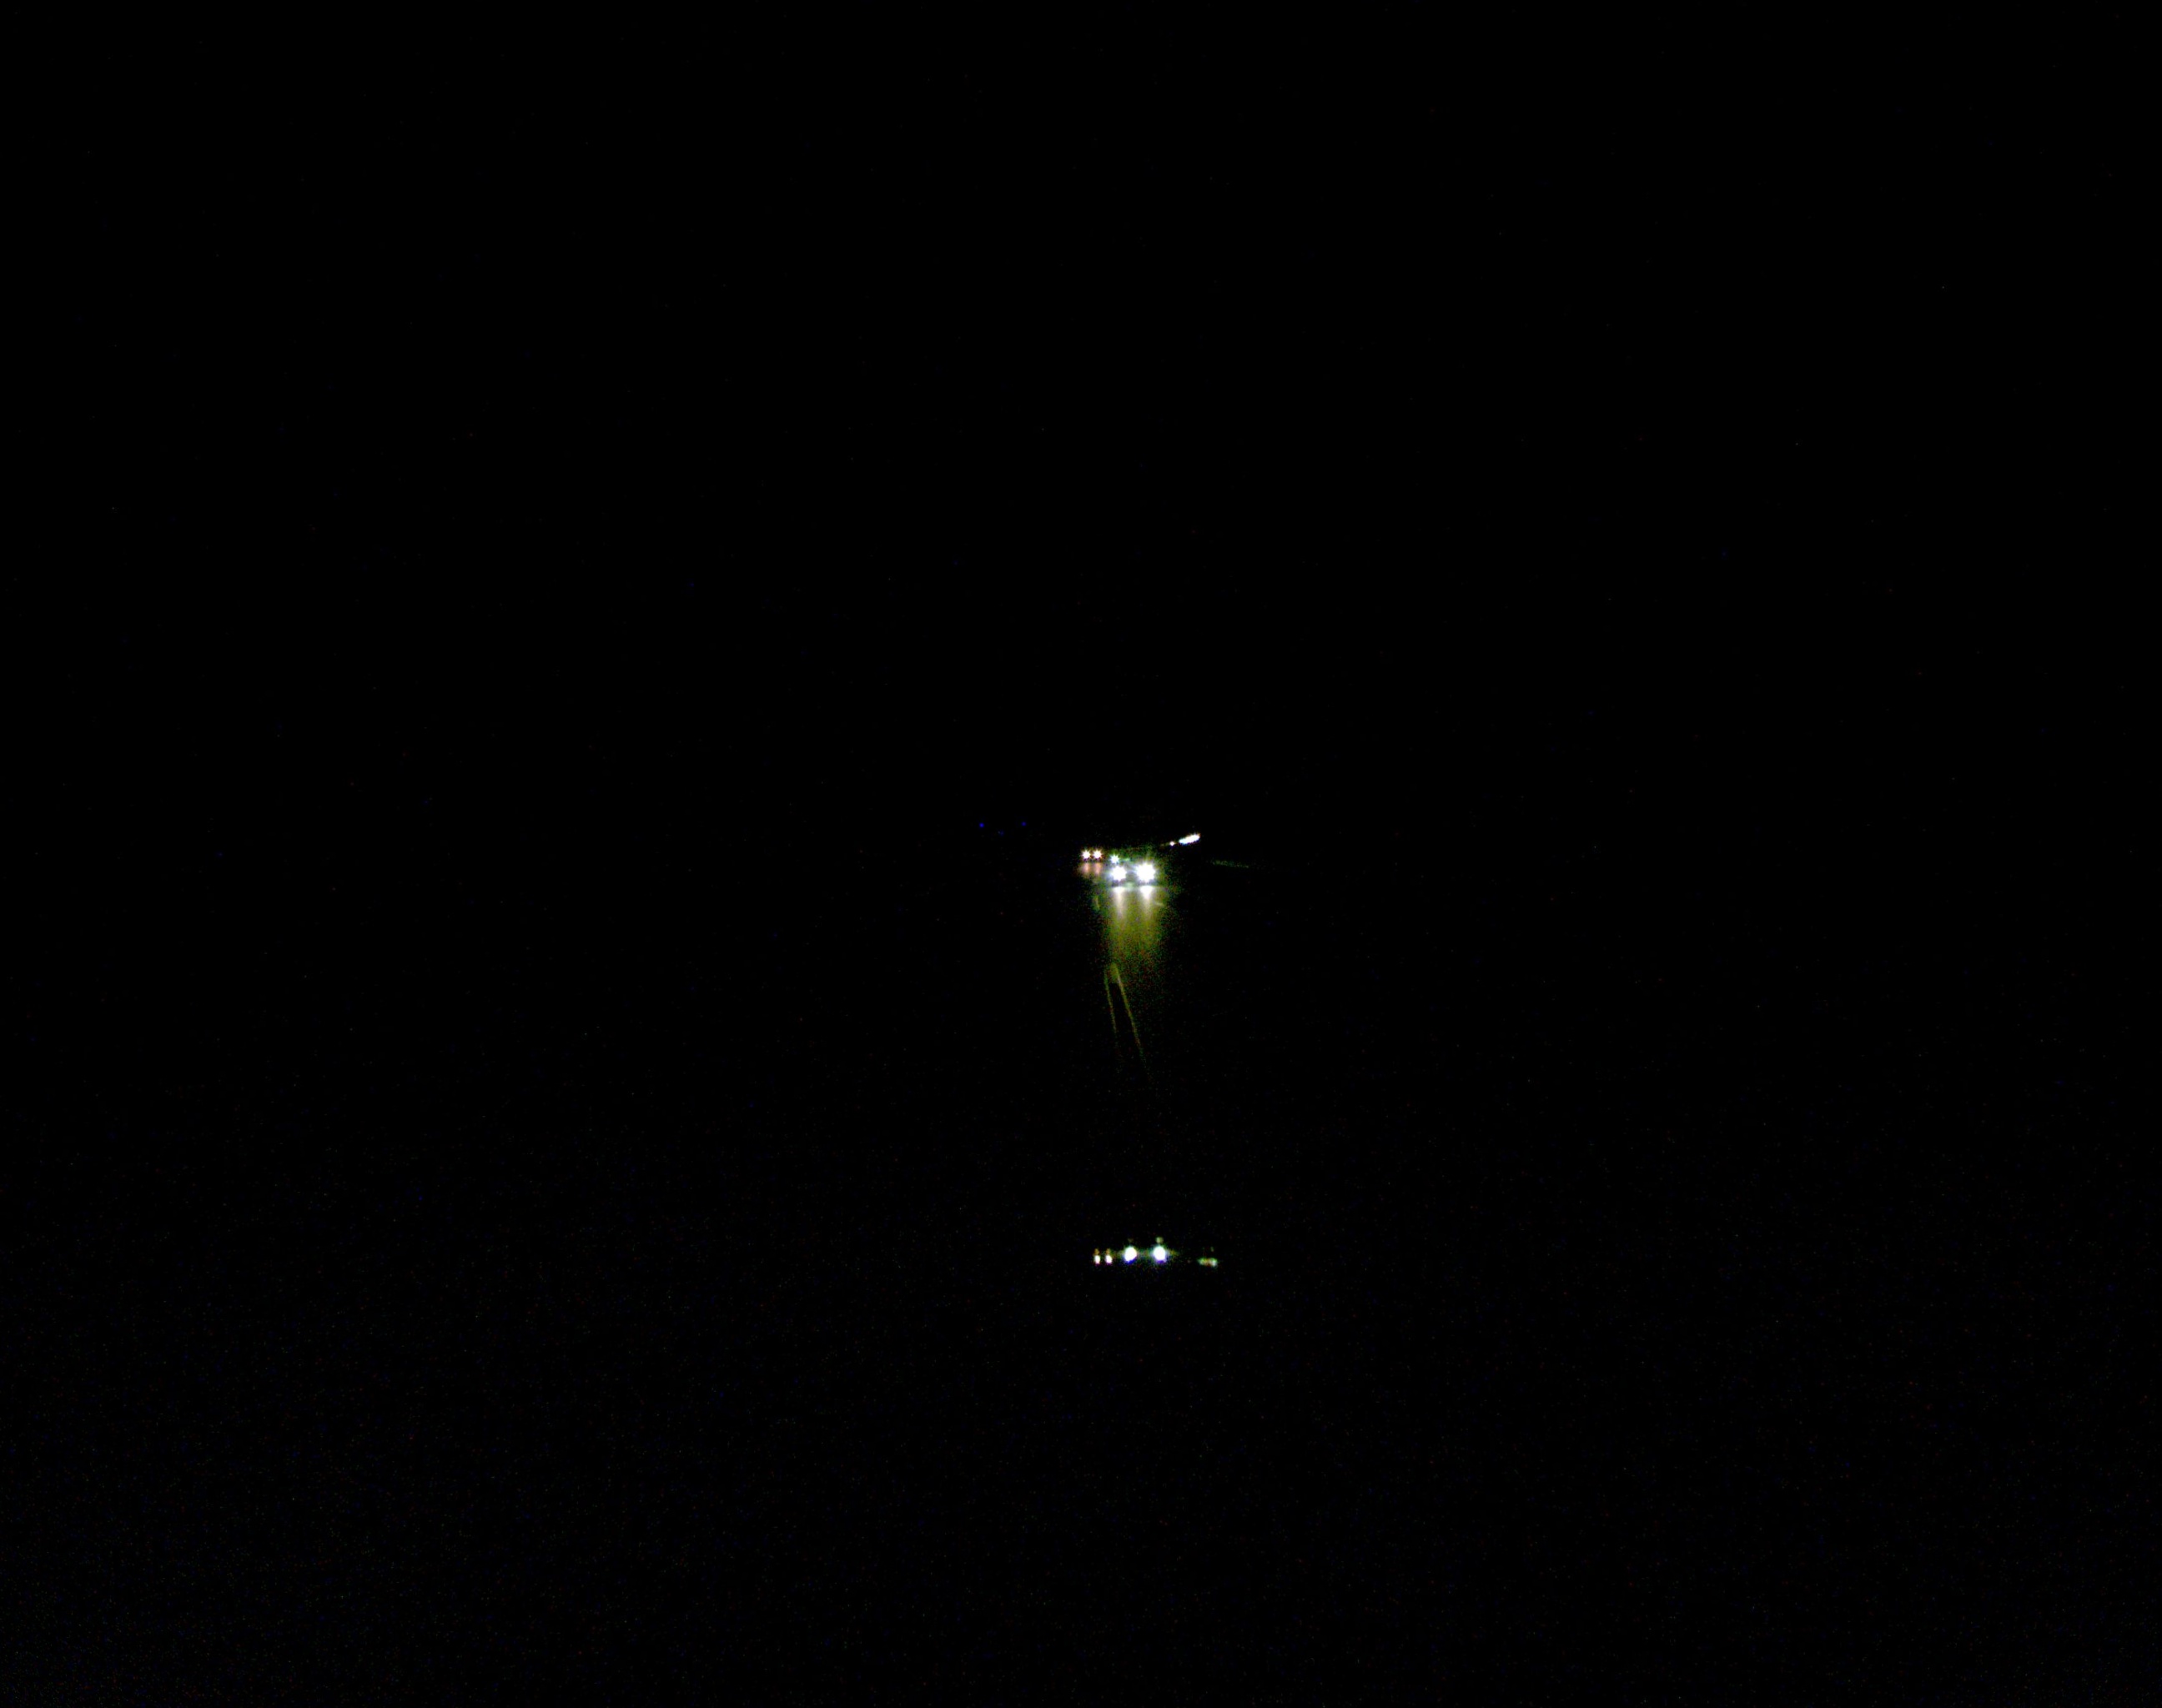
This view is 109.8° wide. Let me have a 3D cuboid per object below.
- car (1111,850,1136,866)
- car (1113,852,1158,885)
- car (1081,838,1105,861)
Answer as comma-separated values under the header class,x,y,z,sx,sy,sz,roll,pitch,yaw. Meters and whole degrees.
class,x,y,z,sx,sy,sz,roll,pitch,yaw
car,4.302,0.355,76.215,1.997,1.455,4.002,-3,1,9
car,2.606,0.666,37.081,1.833,1.404,3.999,-3,1,0
car,1.652,-0.674,101.134,2.533,2.888,6.229,-3,1,5
